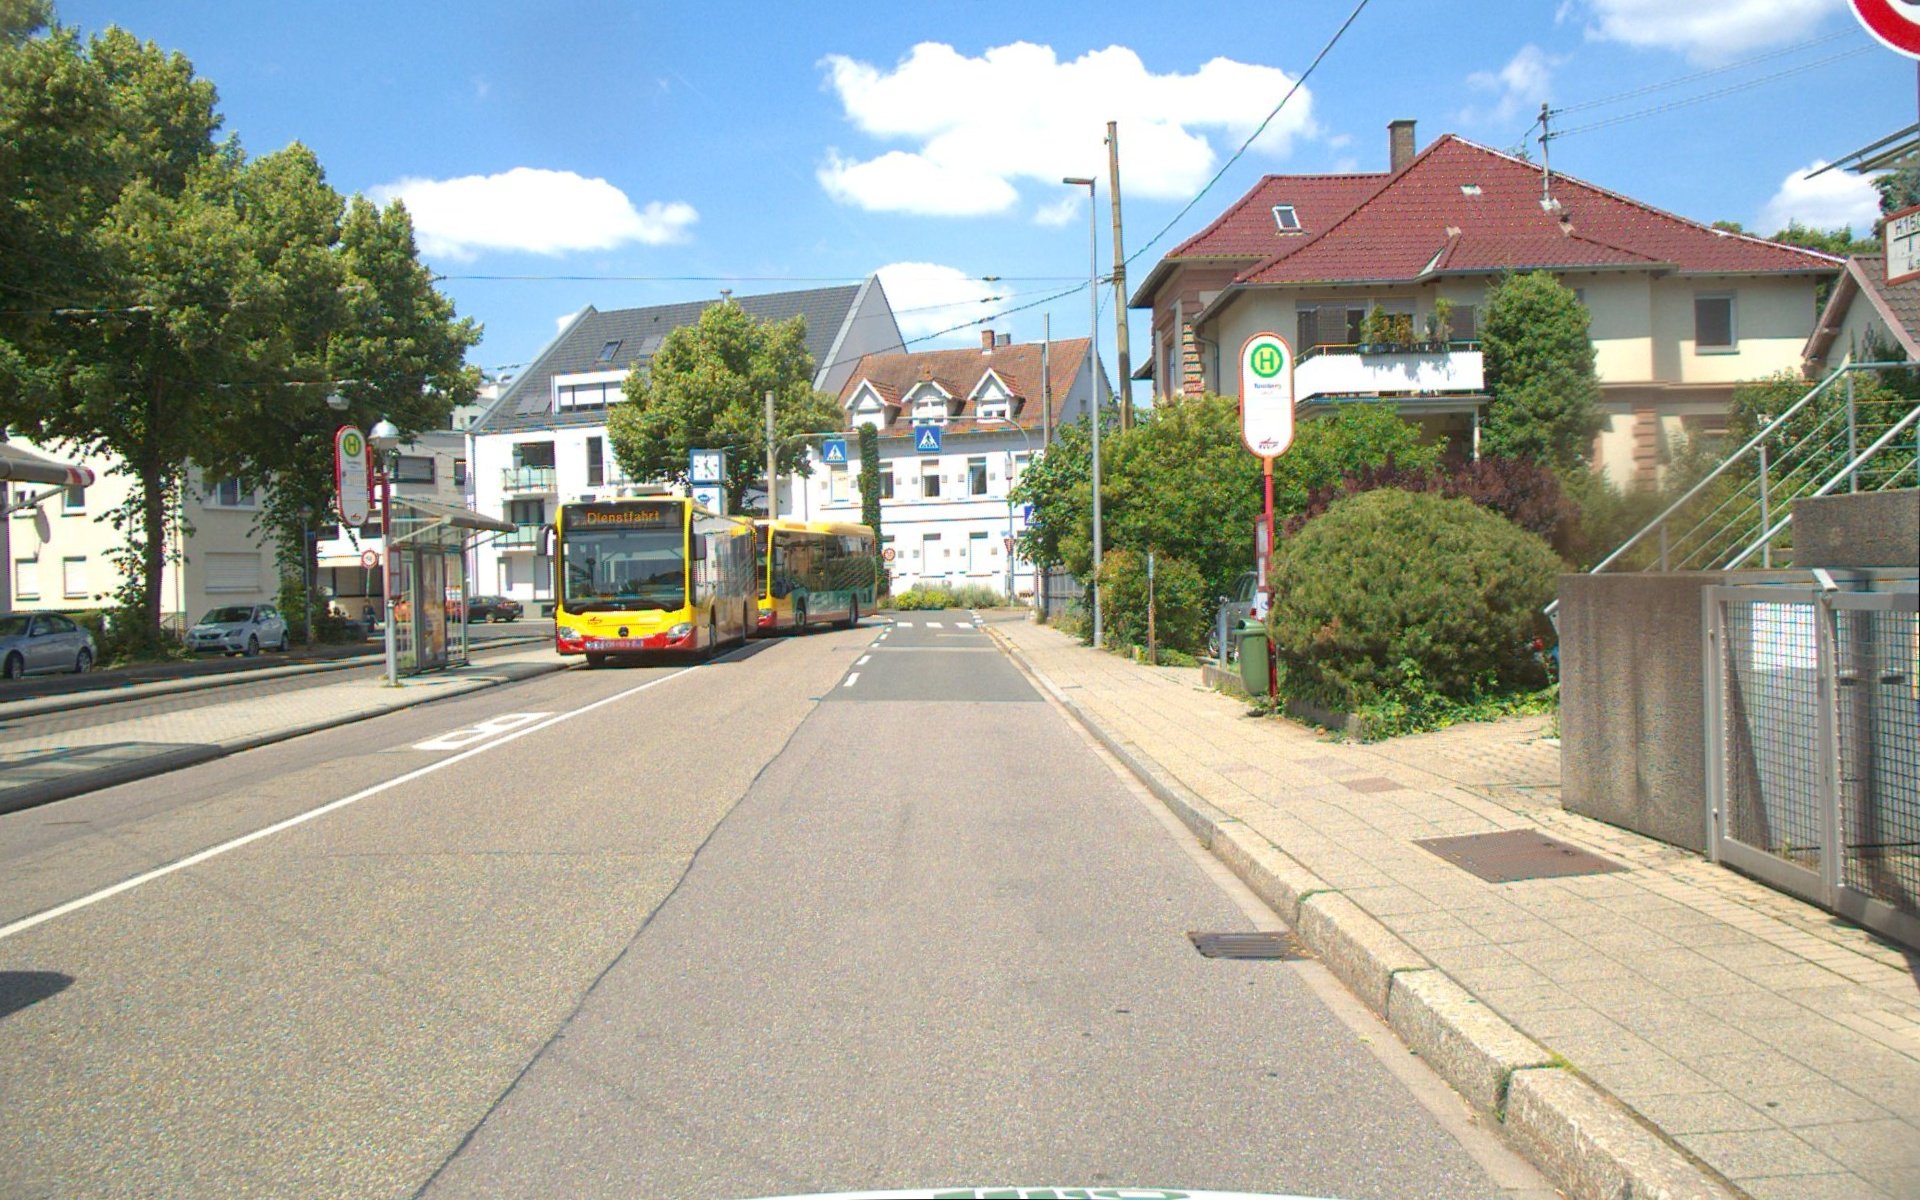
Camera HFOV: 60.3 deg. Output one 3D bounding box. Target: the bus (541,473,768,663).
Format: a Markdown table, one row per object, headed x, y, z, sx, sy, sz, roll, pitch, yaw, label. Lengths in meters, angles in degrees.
| x | y | z | sx | sy | sz | roll | pitch | yaw | label |
| --- | --- | --- | --- | --- | --- | --- | --- | --- | --- |
| -6.066 | -0.574 | 35.092 | 2.848 | 3.304 | 12.115 | 1 | 0 | -2 | bus |

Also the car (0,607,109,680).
| x | y | z | sx | sy | sz | roll | pitch | yaw | label |
| --- | --- | --- | --- | --- | --- | --- | --- | --- | --- |
| -19.059 | 0.848 | 33.275 | 1.659 | 1.381 | 4.399 | 1 | -1 | -1 | car |

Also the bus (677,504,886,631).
| x | y | z | sx | sy | sz | roll | pitch | yaw | label |
| --- | --- | --- | --- | --- | --- | --- | --- | --- | --- |
| -4.886 | -0.974 | 48.630 | 2.720 | 3.264 | 12.318 | 1 | 1 | 10 | bus |

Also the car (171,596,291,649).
| x | y | z | sx | sy | sz | roll | pitch | yaw | label |
| --- | --- | --- | --- | --- | --- | --- | --- | --- | --- |
| -19.397 | 0.603 | 44.193 | 1.681 | 1.342 | 3.996 | 1 | -1 | -5 | car |

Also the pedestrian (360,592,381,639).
| x | y | z | sx | sy | sz | roll | pitch | yaw | label |
| --- | --- | --- | --- | --- | --- | --- | --- | --- | --- |
| -25.498 | 0.669 | 71.501 | 0.677 | 2.049 | 0.611 | 1 | -1 | -36 | pedestrian |

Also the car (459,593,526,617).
| x | y | z | sx | sy | sz | roll | pitch | yaw | label |
| --- | --- | --- | --- | --- | --- | --- | --- | --- | --- |
| -25.265 | 0.285 | 89.406 | 3.137 | 1.245 | 1.593 | 0 | -1 | 16 | car |

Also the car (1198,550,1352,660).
| x | y | z | sx | sy | sz | roll | pitch | yaw | label |
| --- | --- | --- | --- | --- | --- | --- | --- | --- | --- |
| 5.410 | 0.110 | 28.877 | 1.725 | 1.656 | 3.998 | 4 | -1 | -1 | car |

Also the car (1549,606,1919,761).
| x | y | z | sx | sy | sz | roll | pitch | yaw | label |
| --- | --- | --- | --- | --- | --- | --- | --- | --- | --- |
| 9.479 | 0.986 | 19.937 | 4.049 | 1.449 | 1.722 | 5 | 0 | 1 | car |

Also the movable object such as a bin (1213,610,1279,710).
| x | y | z | sx | sy | sz | roll | pitch | yaw | label |
| --- | --- | --- | --- | --- | --- | --- | --- | --- | --- |
| 2.775 | 0.573 | 16.108 | 0.398 | 0.922 | 0.729 | -5 | -1 | -4 | movable object such as a bin |

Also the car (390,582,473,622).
| x | y | z | sx | sy | sz | roll | pitch | yaw | label |
| --- | --- | --- | --- | --- | --- | --- | --- | --- | --- |
| -27.734 | 0.130 | 86.831 | 3.910 | 2.049 | 1.997 | 0 | -1 | 28 | car |
